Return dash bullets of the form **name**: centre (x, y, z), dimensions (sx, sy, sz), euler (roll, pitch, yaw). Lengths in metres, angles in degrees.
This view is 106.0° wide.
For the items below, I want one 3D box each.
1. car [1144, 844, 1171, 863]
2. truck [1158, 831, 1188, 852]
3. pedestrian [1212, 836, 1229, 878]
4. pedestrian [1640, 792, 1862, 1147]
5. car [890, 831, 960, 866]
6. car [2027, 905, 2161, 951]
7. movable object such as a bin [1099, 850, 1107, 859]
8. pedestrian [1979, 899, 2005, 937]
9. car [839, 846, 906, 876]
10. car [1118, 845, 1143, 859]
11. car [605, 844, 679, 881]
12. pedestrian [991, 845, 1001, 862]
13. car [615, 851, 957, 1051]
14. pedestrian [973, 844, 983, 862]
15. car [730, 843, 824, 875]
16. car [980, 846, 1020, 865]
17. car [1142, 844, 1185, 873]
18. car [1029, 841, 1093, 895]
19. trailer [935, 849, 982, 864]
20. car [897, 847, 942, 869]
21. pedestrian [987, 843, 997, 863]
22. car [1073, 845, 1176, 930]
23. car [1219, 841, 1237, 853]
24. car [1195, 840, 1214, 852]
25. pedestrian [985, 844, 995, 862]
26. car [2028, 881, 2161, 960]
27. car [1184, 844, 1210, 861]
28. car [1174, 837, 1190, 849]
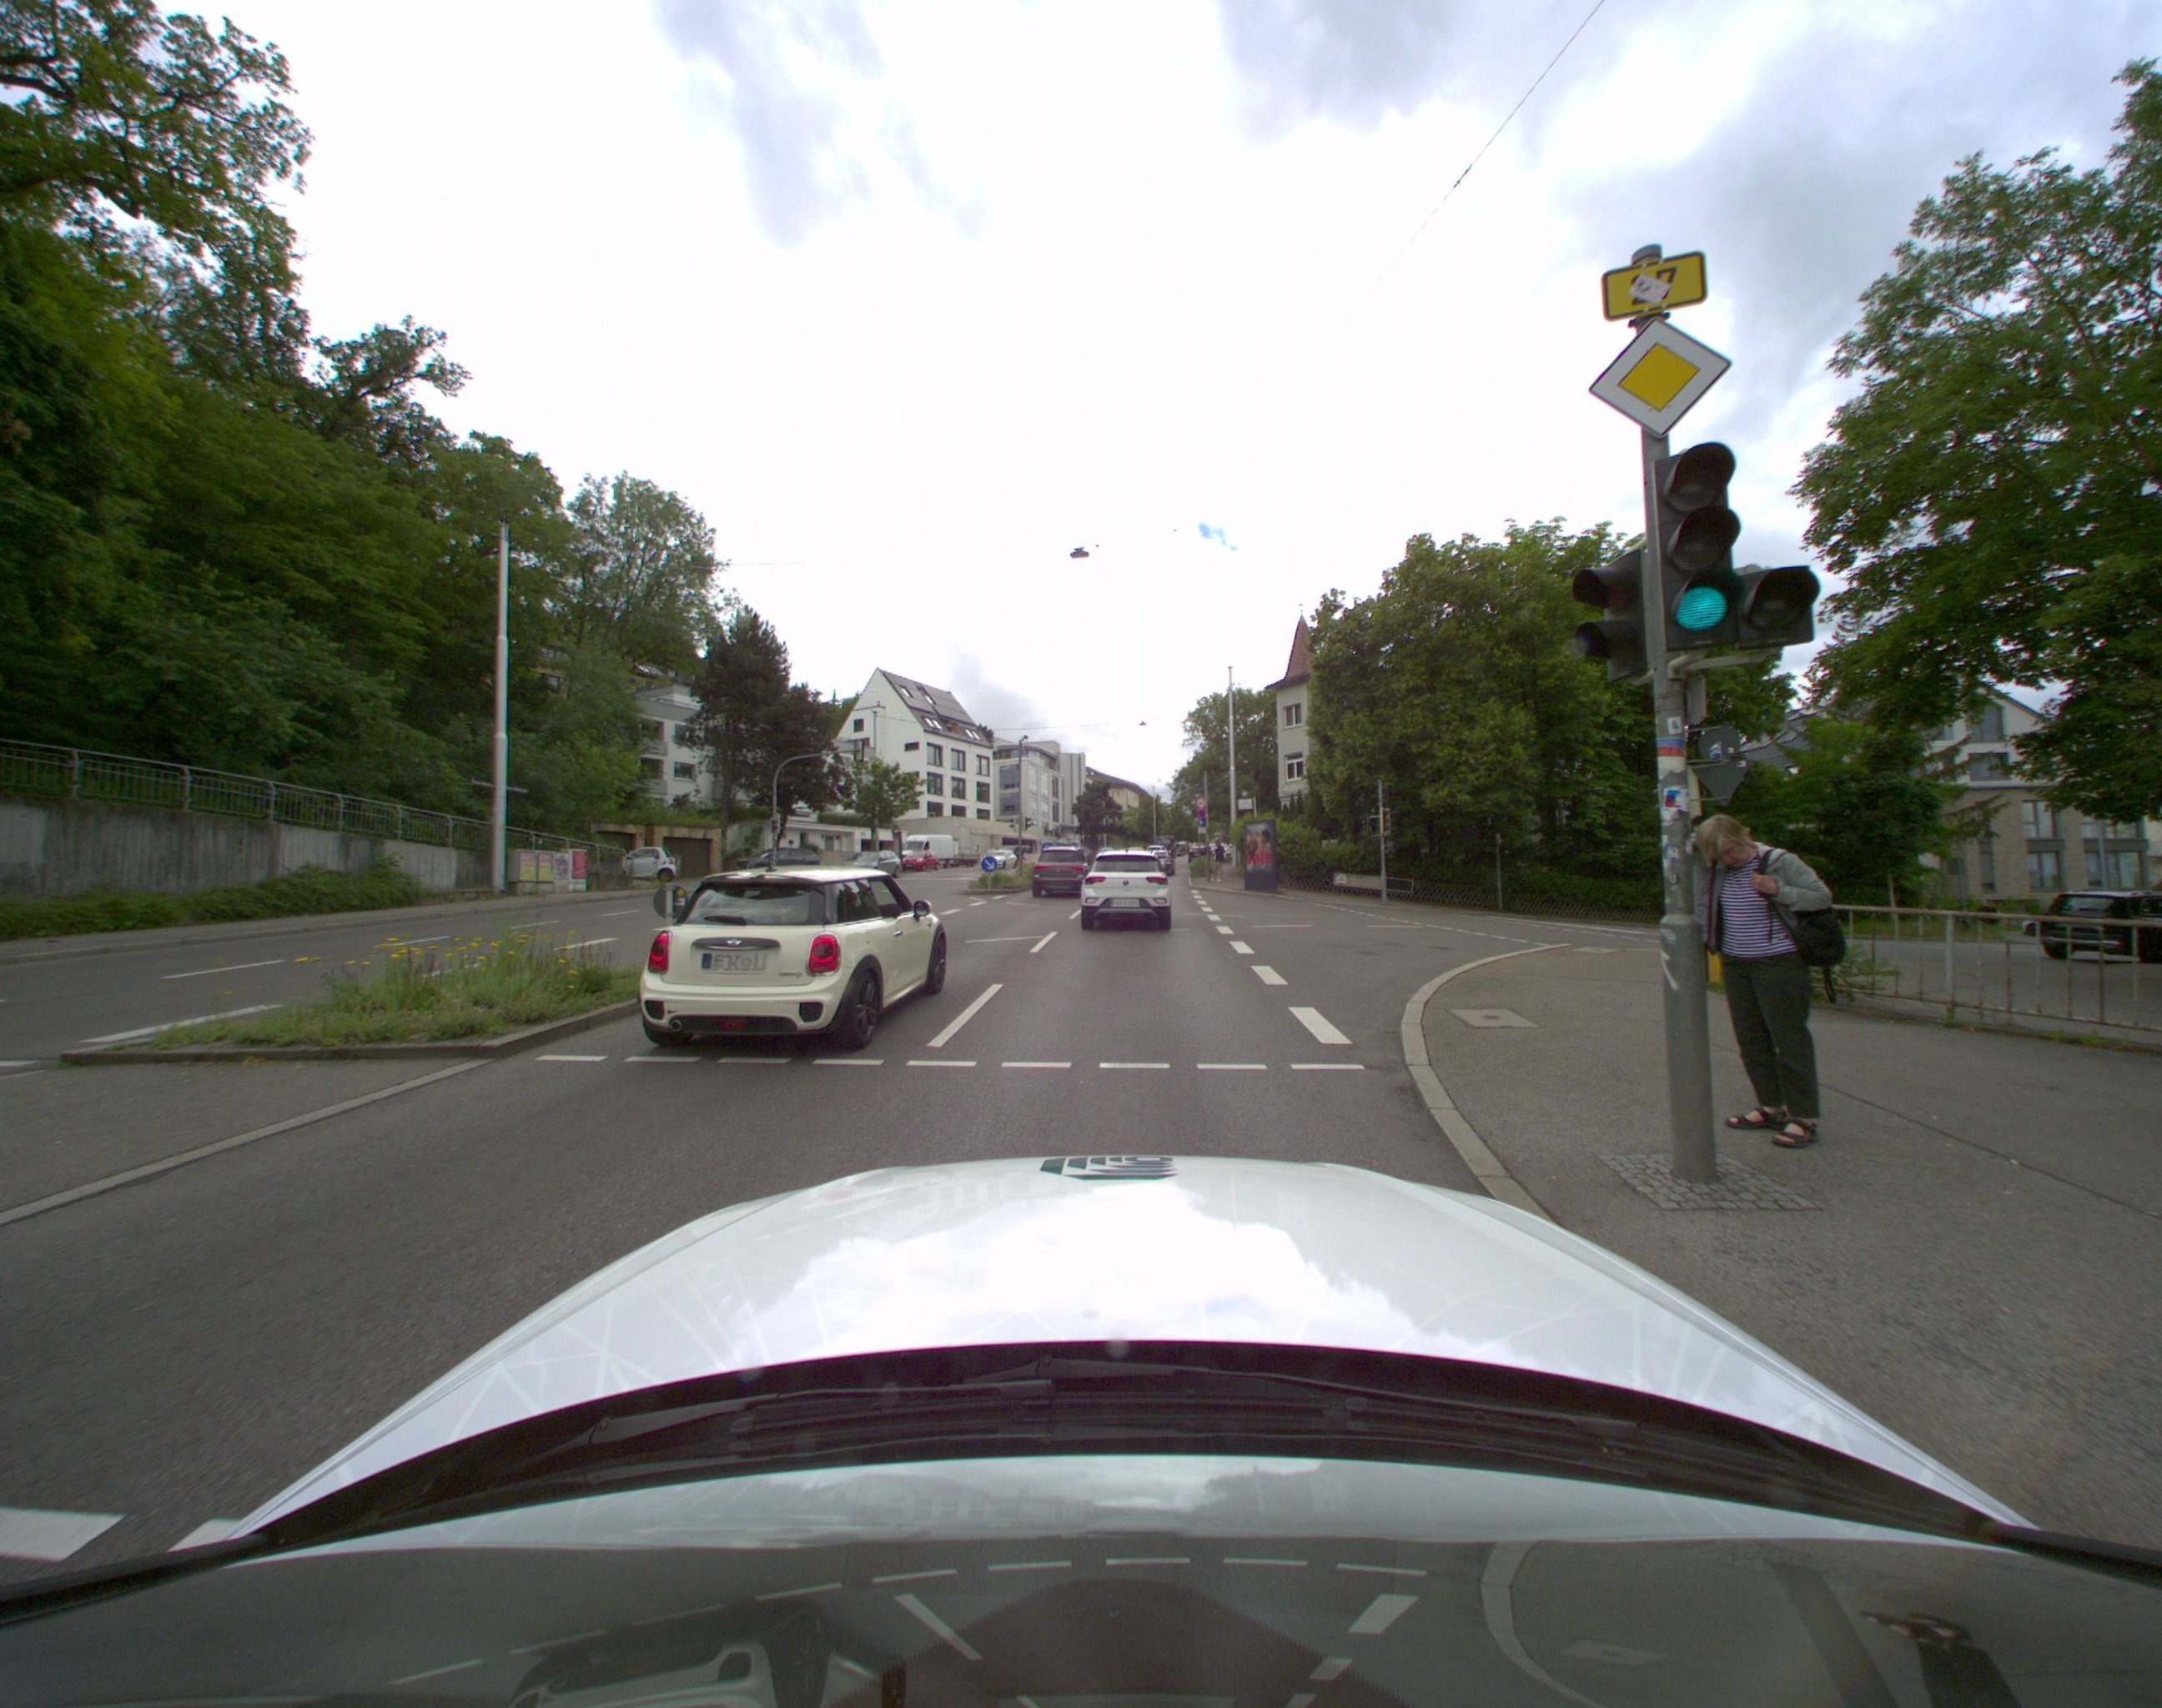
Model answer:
- **car**: centre (6.720, -0.070, 71.515), dimensions (1.846, 1.652, 4.651), euler (-1, 0, 11)
- **truck**: centre (13.259, -1.794, 116.566), dimensions (2.939, 2.971, 9.016), euler (0, 1, 15)
- **pedestrian**: centre (6.226, 0.140, 36.412), dimensions (0.689, 1.834, 0.621), euler (1, 0, 7)
- **pedestrian**: centre (3.470, 0.559, 4.287), dimensions (0.687, 1.689, 0.623), euler (-2, -1, 21)
- **car**: centre (-11.954, -0.458, 63.249), dimensions (2.215, 2.568, 7.453), euler (-1, 0, 15)
- **car**: centre (41.958, 3.014, 33.832), dimensions (1.424, 1.517, 3.473), euler (2, 0, 4)
- **movable object such as a bin**: centre (2.566, 0.058, 94.985), dimensions (0.639, 0.990, 0.664), euler (0, 0, 25)
- **pedestrian**: centre (38.013, 2.663, 33.982), dimensions (0.522, 1.517, 0.511), euler (2, 0, -19)
- **car**: centre (-10.496, 0.320, 41.333), dimensions (1.642, 1.448, 4.577), euler (0, 1, 8)
- **car**: centre (5.379, -0.229, 88.436), dimensions (1.678, 1.501, 4.576), euler (0, 0, 18)
- **car**: centre (-19.388, 0.360, 36.097), dimensions (2.714, 1.520, 1.551), euler (2, -1, -24)
- **pedestrian**: centre (-8.101, -0.048, 77.692), dimensions (0.678, 1.640, 0.665), euler (1, 1, -33)
- **car**: centre (-2.413, 0.701, 7.661), dimensions (1.620, 1.393, 3.571), euler (-1, 0, 5)
- **pedestrian**: centre (-9.568, -0.125, 75.382), dimensions (0.620, 1.640, 0.676), euler (1, 1, 21)
- **car**: centre (-15.459, 0.211, 41.534), dimensions (4.156, 1.540, 1.579), euler (-1, 0, -43)
- **car**: centre (-6.107, 0.103, 61.804), dimensions (1.639, 1.393, 4.160), euler (2, 1, 14)
- **car**: centre (4.869, 0.260, 47.500), dimensions (1.860, 1.501, 4.572), euler (2, 0, 14)
- **car**: centre (-0.590, 0.417, 27.843), dimensions (1.805, 1.652, 4.640), euler (-1, 0, 3)
- **trailer**: centre (-10.298, 0.203, 69.063), dimensions (2.230, 1.112, 4.641), euler (-1, 0, 15)
- **car**: centre (-11.142, 0.252, 56.339), dimensions (1.611, 1.465, 3.939), euler (-1, 0, 11)
- **pedestrian**: centre (-8.361, -0.119, 76.615), dimensions (0.678, 1.840, 0.665), euler (1, 1, -33)
- **car**: centre (0.794, 0.614, 17.053), dimensions (1.807, 1.539, 3.686), euler (-1, 0, -2)
- **car**: centre (18.743, -0.922, 103.574), dimensions (1.844, 1.500, 4.073), euler (-1, 0, 16)
- **car**: centre (15.467, -1.003, 101.932), dimensions (1.844, 1.500, 4.073), euler (-1, 0, 16)
- **pedestrian**: centre (-8.472, -0.083, 75.438), dimensions (0.678, 1.640, 0.665), euler (1, 1, -33)
- **car**: centre (24.828, 1.565, 18.857), dimensions (4.250, 1.619, 1.743), euler (3, 0, -8)
- **car**: centre (10.970, -0.119, 76.661), dimensions (1.860, 1.501, 4.573), euler (2, 0, 15)
- **car**: centre (20.052, -2.157, 161.379), dimensions (2.052, 2.305, 5.490), euler (-1, 0, 18)
